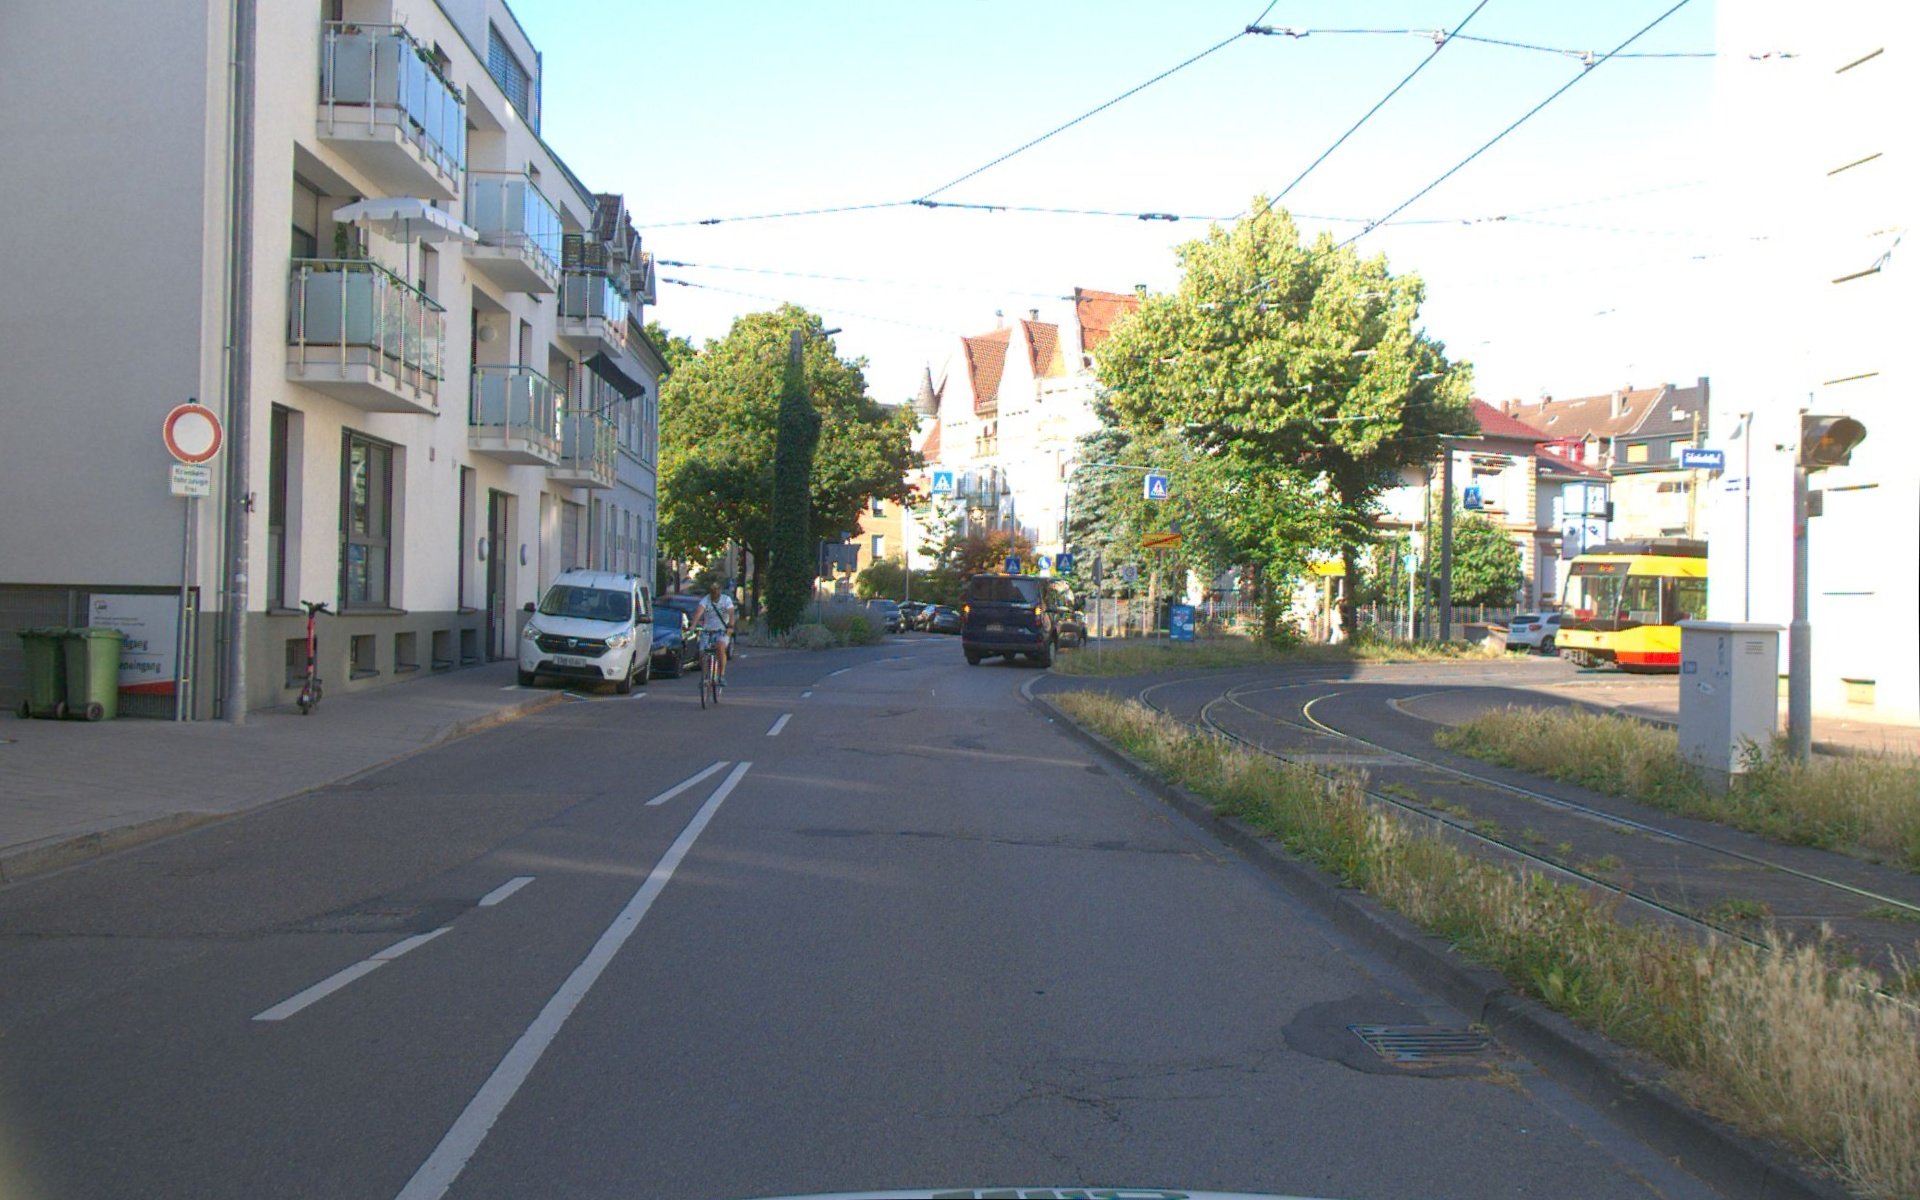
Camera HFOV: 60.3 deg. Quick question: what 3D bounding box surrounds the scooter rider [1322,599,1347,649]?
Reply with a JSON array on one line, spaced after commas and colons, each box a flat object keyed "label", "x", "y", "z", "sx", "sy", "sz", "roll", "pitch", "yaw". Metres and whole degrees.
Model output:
[{"label": "scooter rider", "x": 12.834, "y": 0.830, "z": 56.634, "sx": 0.596, "sy": 1.702, "sz": 0.652, "roll": 0, "pitch": 0, "yaw": -17}]

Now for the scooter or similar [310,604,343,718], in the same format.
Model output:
[{"label": "scooter or similar", "x": -7.261, "y": 0.683, "z": 18.965, "sx": 0.221, "sy": 1.241, "sz": 1.150, "roll": 2, "pitch": 1, "yaw": -16}]

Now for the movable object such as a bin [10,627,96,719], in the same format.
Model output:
[{"label": "movable object such as a bin", "x": -9.394, "y": 0.745, "z": 17.140, "sx": 0.537, "sy": 0.917, "sz": 0.530, "roll": 1, "pitch": -1, "yaw": 20}]

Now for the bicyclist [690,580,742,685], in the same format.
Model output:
[{"label": "bicyclist", "x": -3.323, "y": 0.443, "z": 22.563, "sx": 0.610, "sy": 1.404, "sz": 0.801, "roll": 0, "pitch": -1, "yaw": -2}]

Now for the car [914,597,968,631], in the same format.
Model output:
[{"label": "car", "x": -0.990, "y": 0.716, "z": 84.163, "sx": 1.959, "sy": 1.624, "sz": 3.987, "roll": 2, "pitch": -1, "yaw": -12}]

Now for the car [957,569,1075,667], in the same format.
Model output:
[{"label": "car", "x": 1.338, "y": 0.381, "z": 37.561, "sx": 1.951, "sy": 2.049, "sz": 4.003, "roll": 2, "pitch": 0, "yaw": 12}]

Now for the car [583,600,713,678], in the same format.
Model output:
[{"label": "car", "x": -5.853, "y": 0.723, "z": 31.462, "sx": 1.630, "sy": 1.296, "sz": 4.025, "roll": 3, "pitch": -1, "yaw": 0}]

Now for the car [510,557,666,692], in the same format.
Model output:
[{"label": "car", "x": -5.862, "y": 0.381, "z": 26.539, "sx": 1.776, "sy": 1.902, "sz": 4.328, "roll": 3, "pitch": -1, "yaw": -5}]

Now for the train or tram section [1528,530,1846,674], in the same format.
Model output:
[{"label": "train or tram section", "x": 19.924, "y": 0.112, "z": 45.024, "sx": 9.784, "sy": 3.618, "sz": 2.756, "roll": 1, "pitch": 0, "yaw": -31}]

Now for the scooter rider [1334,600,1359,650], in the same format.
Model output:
[{"label": "scooter rider", "x": 13.281, "y": 0.840, "z": 56.782, "sx": 0.596, "sy": 1.702, "sz": 0.652, "roll": 0, "pitch": 0, "yaw": -17}]

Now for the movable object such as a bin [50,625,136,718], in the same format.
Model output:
[{"label": "movable object such as a bin", "x": -8.873, "y": 0.723, "z": 16.939, "sx": 0.537, "sy": 0.917, "sz": 0.530, "roll": 1, "pitch": -1, "yaw": 20}]

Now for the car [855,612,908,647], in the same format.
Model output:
[{"label": "car", "x": -3.461, "y": 1.320, "z": 72.623, "sx": 1.683, "sy": 1.428, "sz": 3.724, "roll": 0, "pitch": -3, "yaw": -13}]

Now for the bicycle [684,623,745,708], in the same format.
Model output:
[{"label": "bicycle", "x": -3.323, "y": 0.873, "z": 22.506, "sx": 0.610, "sy": 1.100, "sz": 1.783, "roll": 0, "pitch": -1, "yaw": -2}]

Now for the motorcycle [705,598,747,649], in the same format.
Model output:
[{"label": "motorcycle", "x": -6.639, "y": 0.660, "z": 46.756, "sx": 0.915, "sy": 1.381, "sz": 2.556, "roll": 2, "pitch": -1, "yaw": -13}]

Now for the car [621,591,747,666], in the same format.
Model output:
[{"label": "car", "x": -6.184, "y": 0.592, "z": 37.525, "sx": 1.673, "sy": 1.492, "sz": 4.595, "roll": 3, "pitch": 1, "yaw": 5}]

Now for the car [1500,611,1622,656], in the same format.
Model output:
[{"label": "car", "x": 21.155, "y": 1.161, "z": 58.262, "sx": 3.617, "sy": 1.531, "sz": 1.955, "roll": 0, "pitch": 0, "yaw": -19}]
